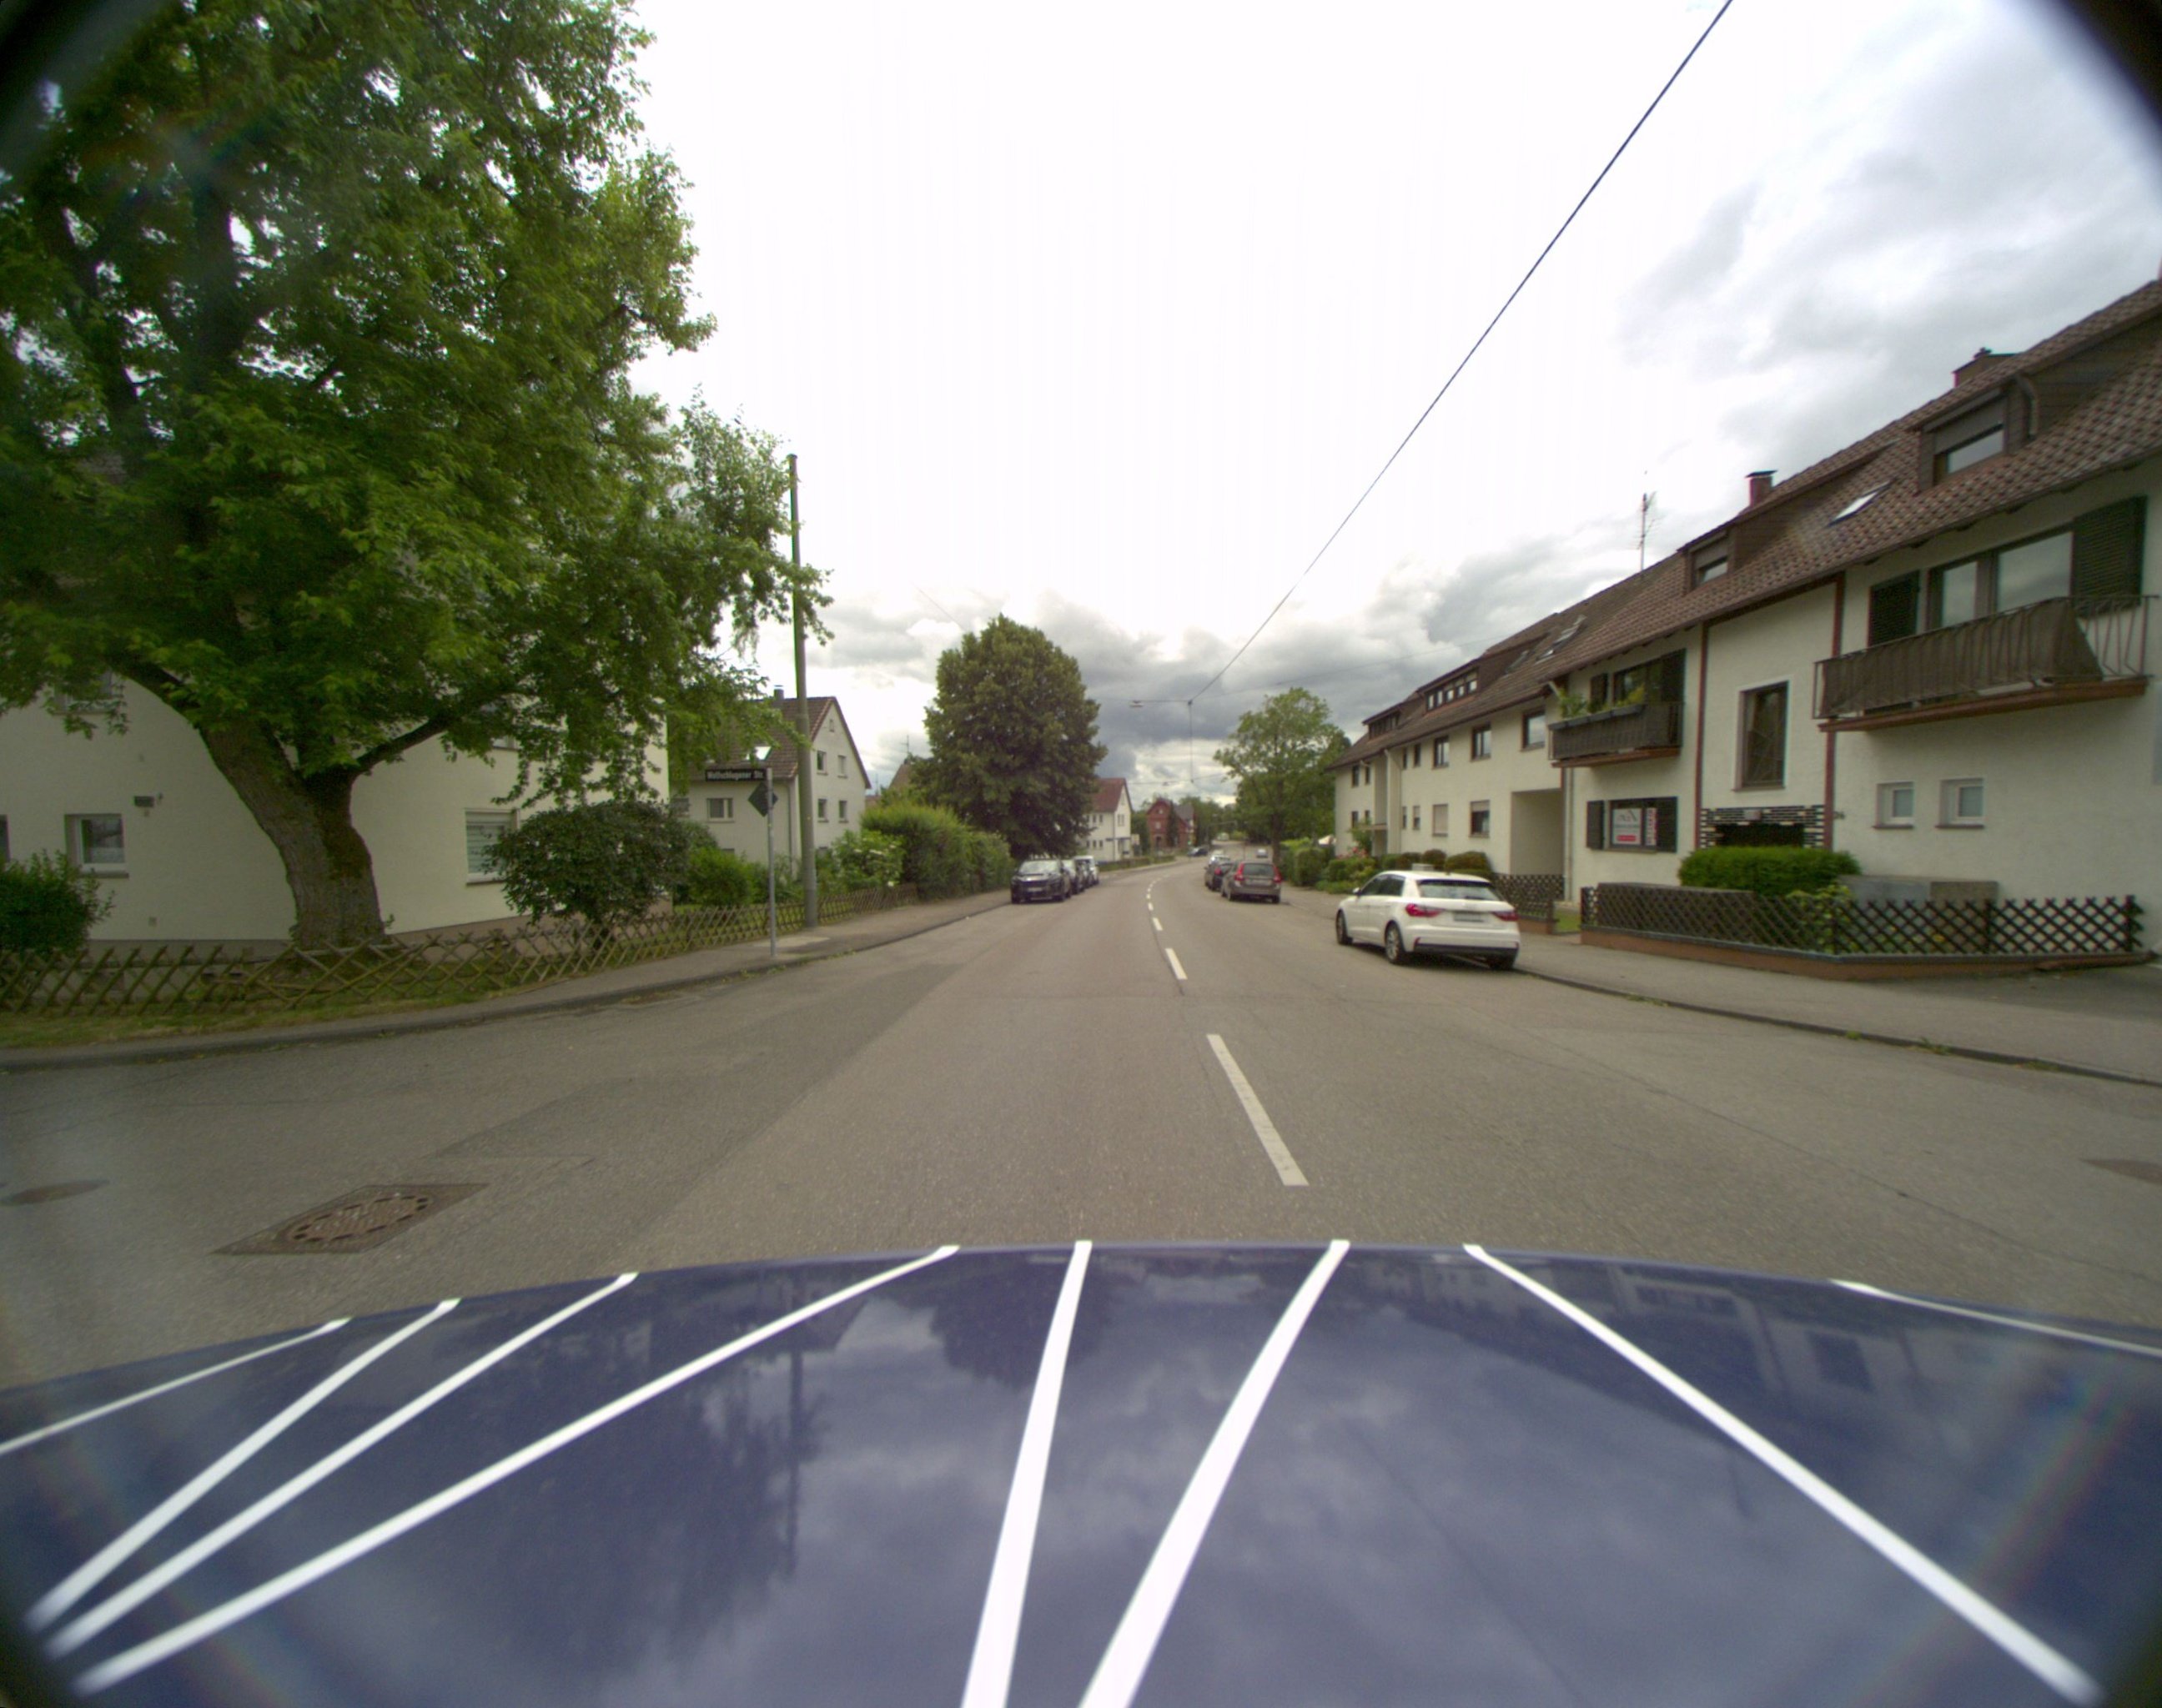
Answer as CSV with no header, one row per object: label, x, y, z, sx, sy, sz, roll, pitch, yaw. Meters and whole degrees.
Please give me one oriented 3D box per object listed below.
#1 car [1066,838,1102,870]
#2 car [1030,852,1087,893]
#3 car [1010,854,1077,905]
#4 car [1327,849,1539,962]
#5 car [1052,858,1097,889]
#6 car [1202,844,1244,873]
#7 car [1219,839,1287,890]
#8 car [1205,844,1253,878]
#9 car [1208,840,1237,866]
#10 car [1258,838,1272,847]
car,0.212,0.022,45.997,1.842,1.763,4.318,-3,0,3
car,-0.934,0.784,34.148,1.998,1.606,4.540,-2,1,5
car,-1.300,0.878,28.167,1.815,1.606,4.540,-2,1,5
car,5.477,0.700,12.433,1.730,1.450,3.899,3,1,3
car,-0.291,0.980,40.718,1.998,1.469,4.621,0,1,5
car,7.707,0.214,41.479,1.766,1.430,4.079,1,1,4
car,6.462,0.326,28.993,1.850,1.671,4.788,3,1,5
car,6.963,0.311,36.187,1.766,1.430,4.079,3,1,5
car,9.865,-0.131,52.962,1.852,1.704,4.578,1,1,11
car,29.683,-1.834,122.720,1.714,1.347,4.088,2,2,20
